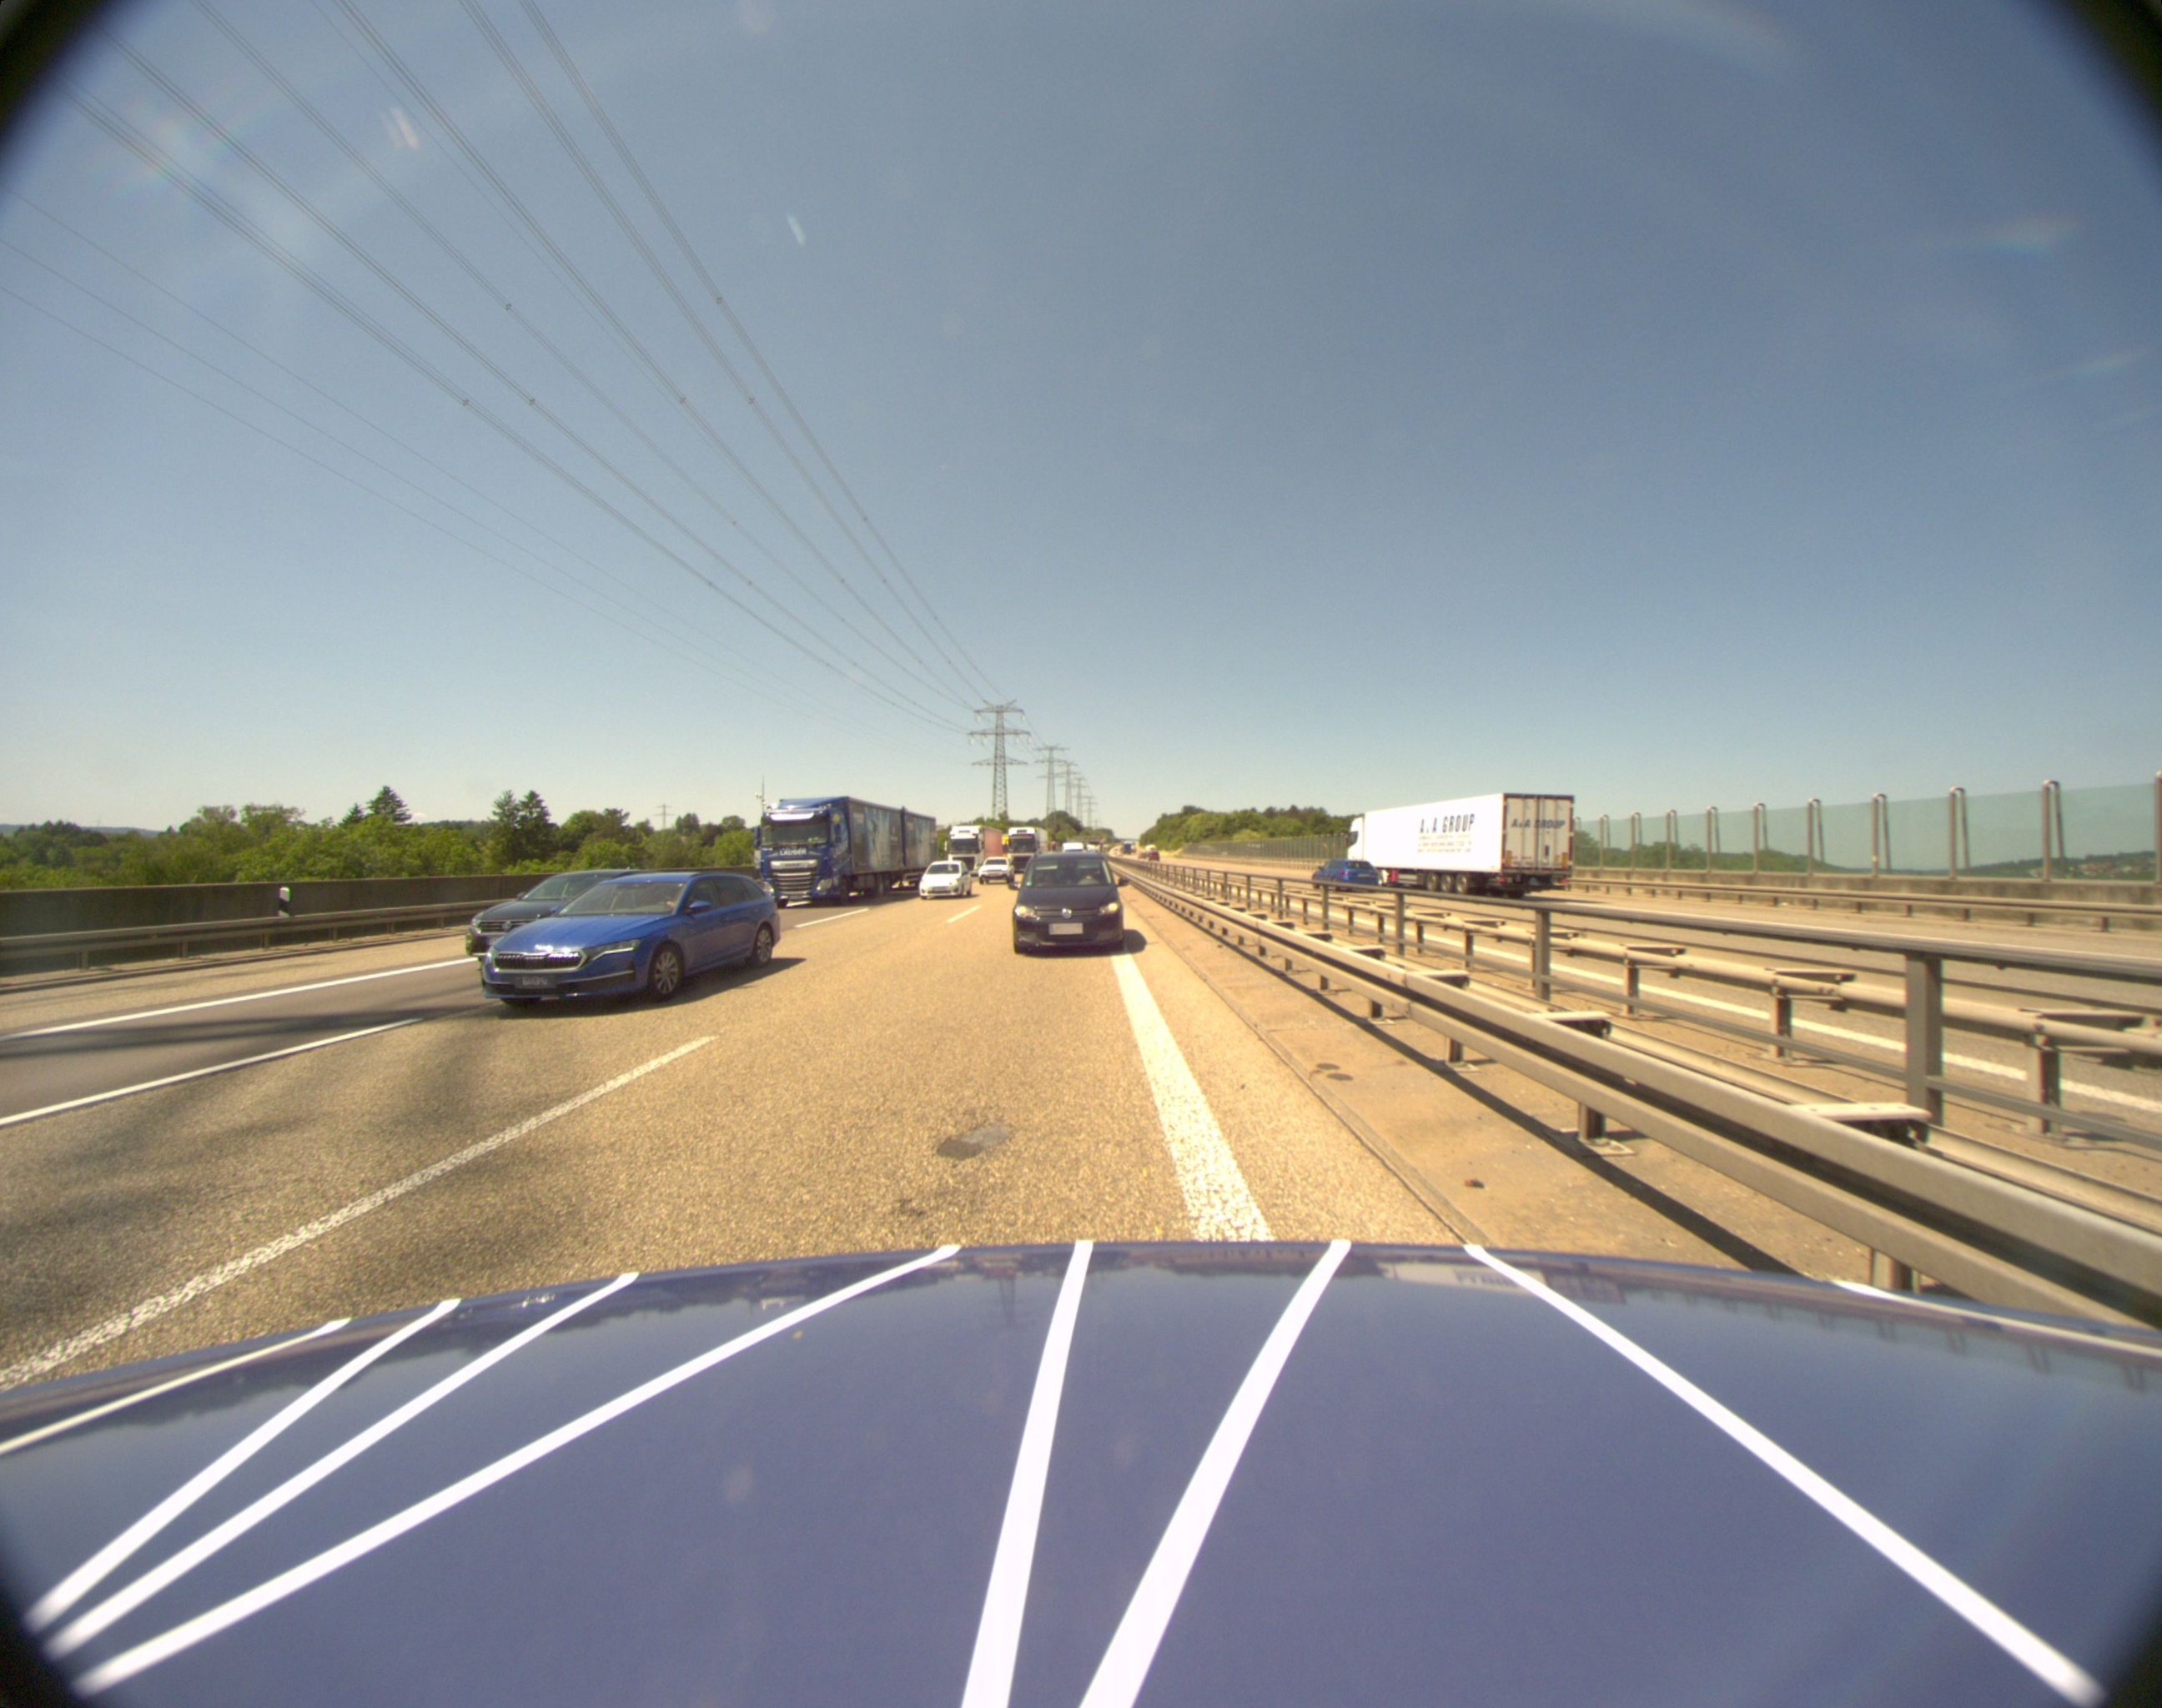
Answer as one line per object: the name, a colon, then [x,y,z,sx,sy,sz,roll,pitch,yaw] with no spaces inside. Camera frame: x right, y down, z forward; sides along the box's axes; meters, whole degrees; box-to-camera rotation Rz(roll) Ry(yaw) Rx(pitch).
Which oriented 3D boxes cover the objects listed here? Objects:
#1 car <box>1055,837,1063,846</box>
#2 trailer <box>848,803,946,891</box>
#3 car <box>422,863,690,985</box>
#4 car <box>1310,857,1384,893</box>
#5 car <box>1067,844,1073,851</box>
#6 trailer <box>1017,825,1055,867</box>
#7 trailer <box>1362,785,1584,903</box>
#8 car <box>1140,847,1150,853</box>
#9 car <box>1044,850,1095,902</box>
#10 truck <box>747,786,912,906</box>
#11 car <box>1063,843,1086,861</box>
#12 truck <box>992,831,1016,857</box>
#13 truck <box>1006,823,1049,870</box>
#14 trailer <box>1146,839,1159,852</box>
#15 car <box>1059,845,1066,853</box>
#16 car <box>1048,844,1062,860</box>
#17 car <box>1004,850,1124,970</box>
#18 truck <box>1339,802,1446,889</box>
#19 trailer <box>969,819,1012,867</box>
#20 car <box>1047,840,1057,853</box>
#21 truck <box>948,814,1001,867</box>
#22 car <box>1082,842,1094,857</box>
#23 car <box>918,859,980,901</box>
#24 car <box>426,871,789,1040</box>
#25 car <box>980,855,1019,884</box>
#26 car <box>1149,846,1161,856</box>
car: [-5.431,-2.920,184.872,1.704,2.116,3.999,2,1,1]
trailer: [-9.455,-0.392,40.232,2.835,4.066,8.637,-2,1,1]
car: [-8.849,1.066,13.338,1.712,1.645,4.117,-2,1,1]
car: [11.918,0.889,34.323,1.777,1.483,4.605,0,0,1]
car: [-3.733,-2.156,258.915,1.704,2.116,3.999,2,1,1]
trailer: [-4.371,-0.842,76.002,2.822,3.830,9.085,-2,1,2]
trailer: [16.725,-0.455,34.391,2.913,4.282,13.658,1,1,0]
car: [14.844,-0.941,177.166,1.876,1.434,4.384,1,1,0]
car: [-0.386,0.751,28.196,1.713,1.669,3.931,-2,1,0]
truck: [-9.600,-0.341,30.708,2.859,3.927,10.393,-2,1,1]
car: [-0.568,-0.203,70.920,1.924,1.501,3.996,-2,1,1]
truck: [-9.188,-1.225,91.295,2.251,2.965,6.242,2,1,-1]
truck: [-4.614,-0.673,67.347,2.849,3.804,8.264,-2,1,2]
trailer: [19.686,-2.407,209.208,2.505,3.520,10.902,0,1,1]
car: [-5.243,-1.328,214.019,1.704,2.116,3.999,2,1,1]
car: [-3.645,-0.298,107.739,1.704,2.116,3.999,2,1,1]
car: [-0.246,0.822,13.183,1.713,1.669,3.931,-2,1,0]
truck: [16.733,-0.491,41.397,2.936,4.269,6.857,2,1,1]
trailer: [-8.267,-1.047,70.761,2.608,4.094,9.084,-2,1,1]
car: [-5.953,-1.571,154.555,1.704,2.525,3.999,2,1,1]
truck: [-8.552,-1.116,62.142,2.608,3.964,8.265,-2,1,3]
car: [1.038,-0.696,117.249,1.704,2.116,3.999,-2,1,1]
car: [-5.274,0.994,30.860,1.712,1.443,4.144,-2,1,1]
car: [-5.564,1.062,9.812,1.712,1.443,4.563,-2,1,1]
car: [-4.698,0.850,44.413,1.712,1.501,4.144,-2,1,1]
car: [13.764,-0.639,141.638,1.844,1.812,4.746,0,1,-1]
